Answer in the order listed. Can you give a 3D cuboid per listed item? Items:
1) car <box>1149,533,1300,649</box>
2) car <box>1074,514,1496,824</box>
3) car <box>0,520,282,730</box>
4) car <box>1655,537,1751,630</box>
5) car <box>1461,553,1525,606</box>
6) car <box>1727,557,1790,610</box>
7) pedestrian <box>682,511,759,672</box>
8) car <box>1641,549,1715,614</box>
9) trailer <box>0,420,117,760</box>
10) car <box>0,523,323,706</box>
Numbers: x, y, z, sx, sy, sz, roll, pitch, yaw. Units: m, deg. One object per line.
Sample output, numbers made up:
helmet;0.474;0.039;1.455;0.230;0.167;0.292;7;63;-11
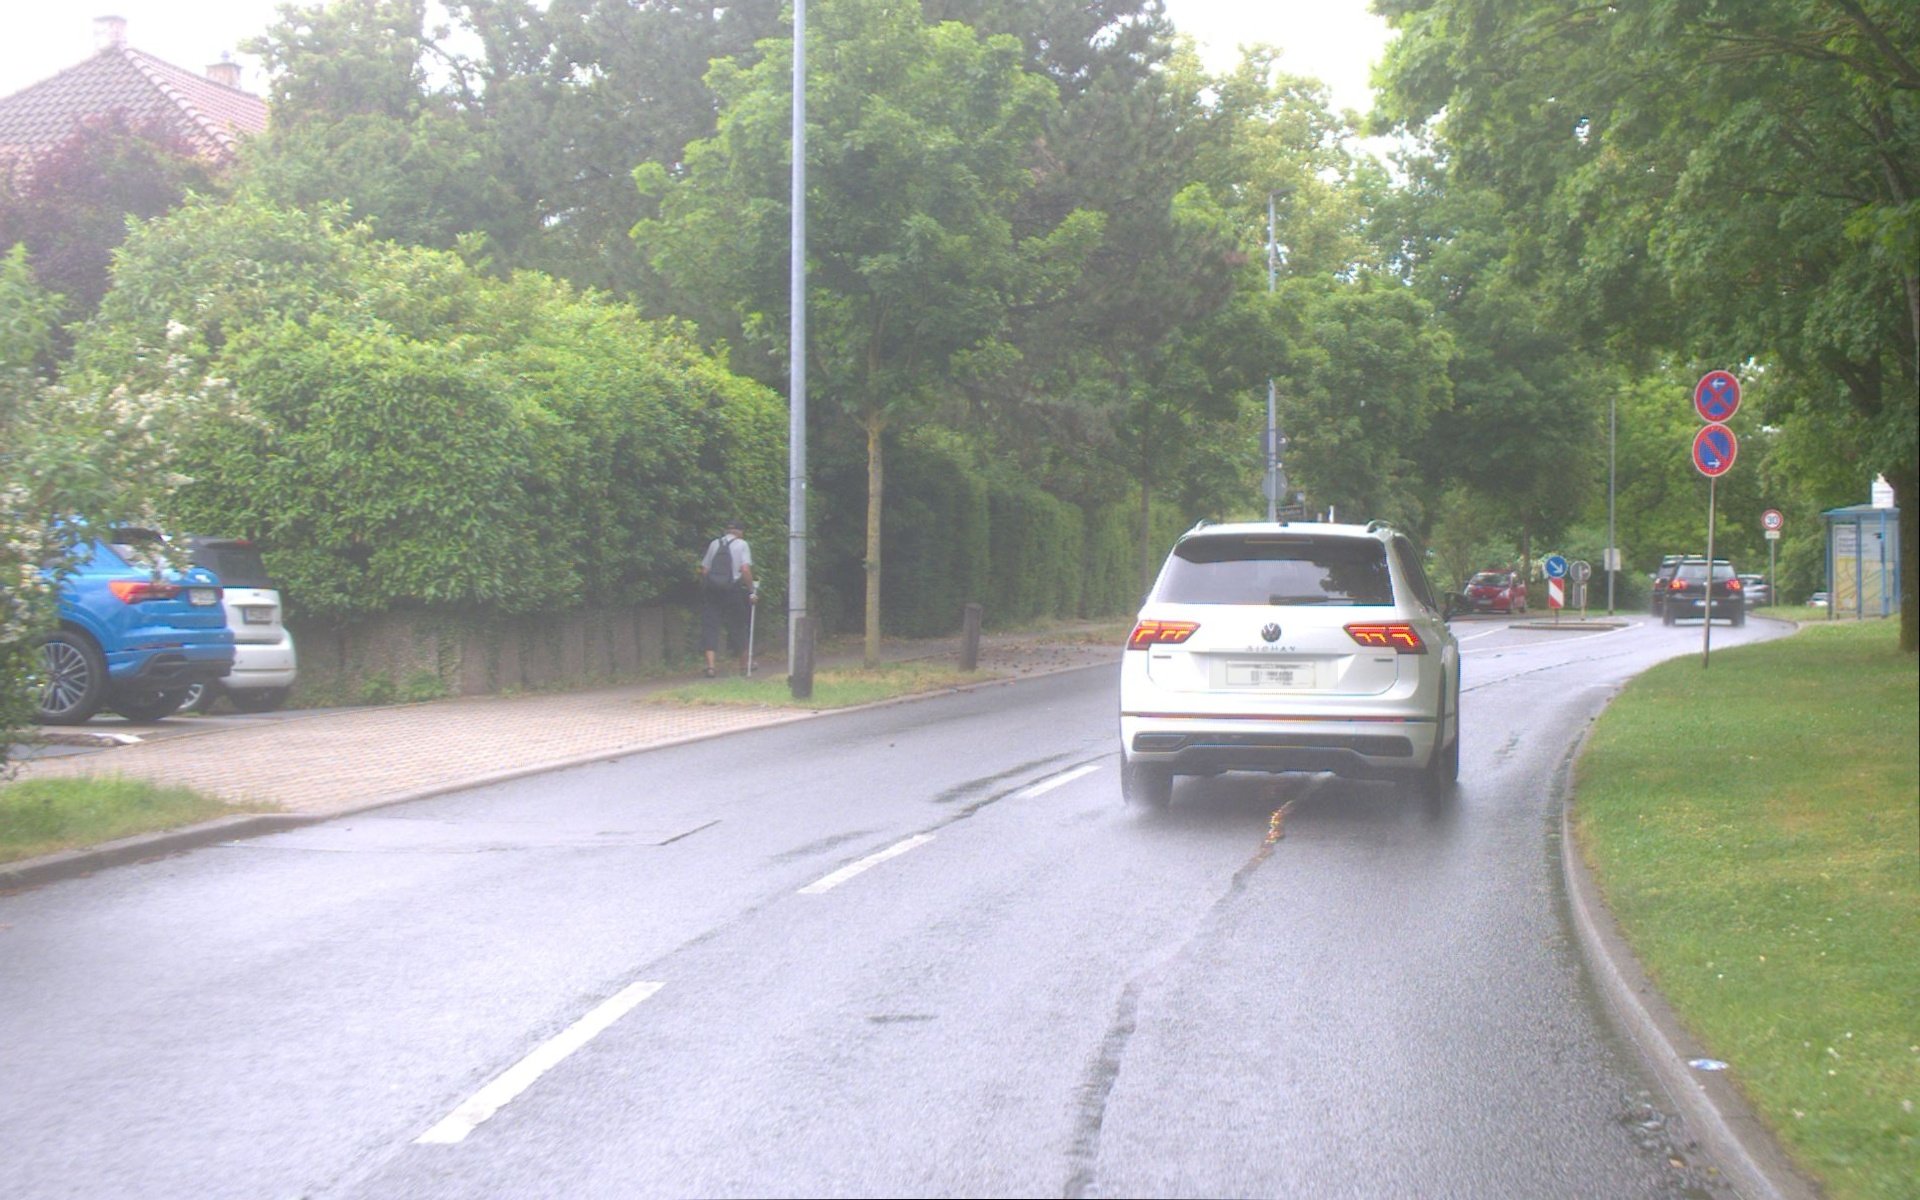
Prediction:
car;3.657;-0.158;46.989;1.584;1.472;3.894;-1;1;11
car;2.052;0.332;20.557;1.975;1.647;4.175;0;1;13
car;-7.611;0.156;26.469;4.239;1.534;2.051;0;1;9
car;16.719;-0.347;77.502;1.902;2.007;3.942;2;0;10
car;18.693;-0.698;120.471;1.994;1.756;3.998;2;0;12
car;28.692;-0.586;123.601;1.994;1.798;3.998;2;0;11
pedestrian;-2.504;-0.098;35.996;0.777;1.656;0.843;0;1;-2
car;20.670;-0.510;99.067;1.994;1.753;3.998;2;0;11
trailer;-8.230;-0.095;23.143;4.622;2.164;1.814;0;1;9
car;-7.435;0.100;29.719;3.404;1.514;1.730;0;1;9
